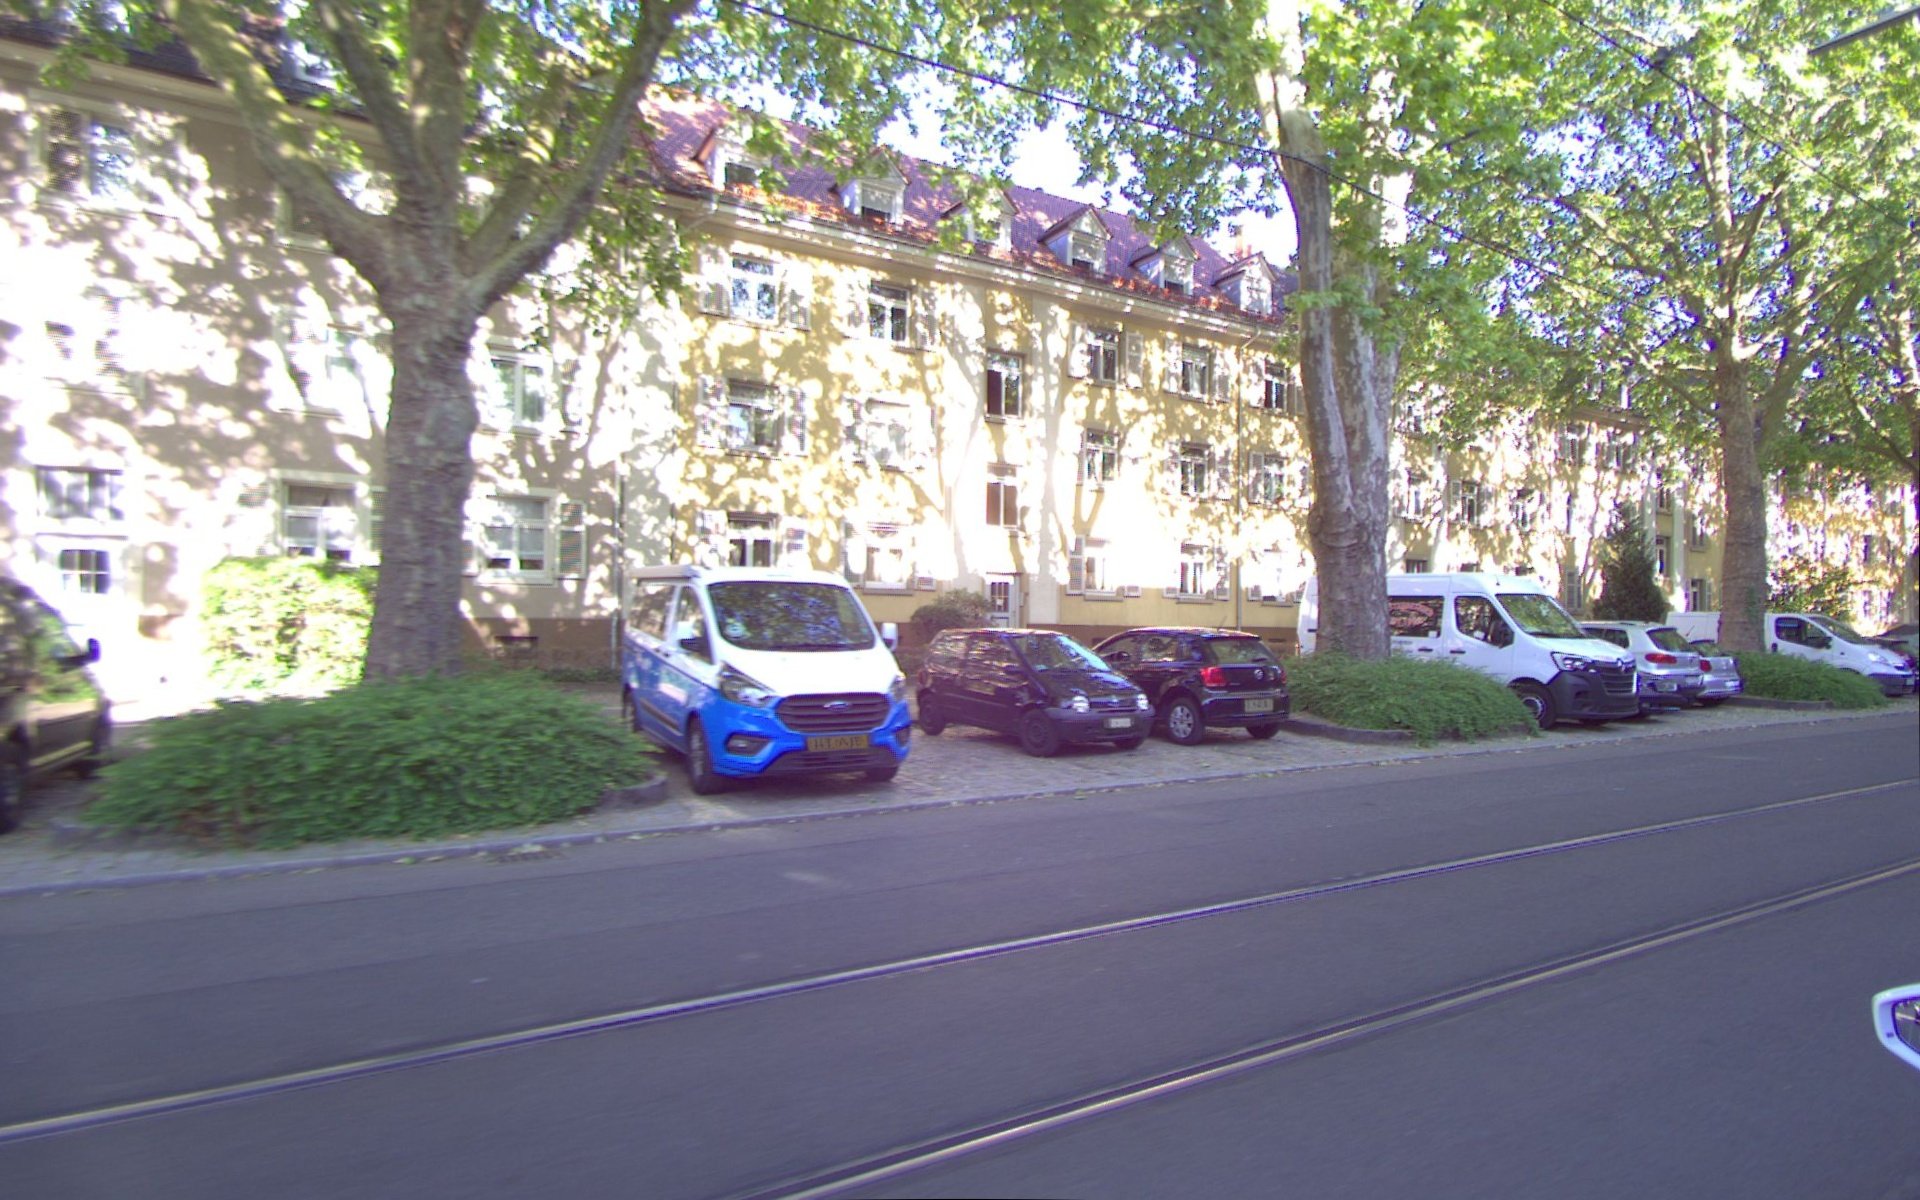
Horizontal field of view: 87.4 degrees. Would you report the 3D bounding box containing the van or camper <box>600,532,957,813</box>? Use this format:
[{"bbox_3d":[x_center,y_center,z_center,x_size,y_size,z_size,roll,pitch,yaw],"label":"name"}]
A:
[{"bbox_3d":[-2.167,0.603,10.536,2.095,2.219,4.794,1,-1,-31],"label":"van or camper"}]

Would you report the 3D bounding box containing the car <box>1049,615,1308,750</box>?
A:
[{"bbox_3d":[2.893,1.035,14.061,1.592,1.586,3.669,1,-1,-27],"label":"car"}]

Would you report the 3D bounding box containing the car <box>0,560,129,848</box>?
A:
[{"bbox_3d":[-7.677,0.655,7.461,1.684,1.839,3.664,1,-1,-30],"label":"car"}]

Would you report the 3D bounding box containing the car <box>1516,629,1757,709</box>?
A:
[{"bbox_3d":[14.136,1.374,21.200,1.840,1.517,3.831,1,-2,-29],"label":"car"}]

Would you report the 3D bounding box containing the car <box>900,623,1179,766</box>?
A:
[{"bbox_3d":[0.881,1.073,12.791,1.680,1.479,3.505,1,-1,-36],"label":"car"}]

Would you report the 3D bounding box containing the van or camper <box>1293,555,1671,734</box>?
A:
[{"bbox_3d":[8.672,0.673,17.330,2.415,2.549,5.366,1,-1,-29],"label":"van or camper"}]

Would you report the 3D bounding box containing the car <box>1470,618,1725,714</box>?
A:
[{"bbox_3d":[12.332,1.218,19.690,1.840,1.685,3.831,1,-2,-29],"label":"car"}]

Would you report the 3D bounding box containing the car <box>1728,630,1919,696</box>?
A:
[{"bbox_3d":[22.081,1.529,25.407,1.840,1.517,3.831,1,-2,-29],"label":"car"}]

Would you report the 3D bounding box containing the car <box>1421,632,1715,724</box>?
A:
[{"bbox_3d":[10.703,1.301,18.040,1.732,1.417,4.246,1,-2,-29],"label":"car"}]

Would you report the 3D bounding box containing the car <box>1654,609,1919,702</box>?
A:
[{"bbox_3d":[19.652,1.223,24.044,1.940,1.971,4.630,1,-1,-32],"label":"car"}]

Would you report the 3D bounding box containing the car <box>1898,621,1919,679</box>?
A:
[{"bbox_3d":[31.179,1.558,30.111,1.718,1.781,4.181,1,-1,-28],"label":"car"}]
